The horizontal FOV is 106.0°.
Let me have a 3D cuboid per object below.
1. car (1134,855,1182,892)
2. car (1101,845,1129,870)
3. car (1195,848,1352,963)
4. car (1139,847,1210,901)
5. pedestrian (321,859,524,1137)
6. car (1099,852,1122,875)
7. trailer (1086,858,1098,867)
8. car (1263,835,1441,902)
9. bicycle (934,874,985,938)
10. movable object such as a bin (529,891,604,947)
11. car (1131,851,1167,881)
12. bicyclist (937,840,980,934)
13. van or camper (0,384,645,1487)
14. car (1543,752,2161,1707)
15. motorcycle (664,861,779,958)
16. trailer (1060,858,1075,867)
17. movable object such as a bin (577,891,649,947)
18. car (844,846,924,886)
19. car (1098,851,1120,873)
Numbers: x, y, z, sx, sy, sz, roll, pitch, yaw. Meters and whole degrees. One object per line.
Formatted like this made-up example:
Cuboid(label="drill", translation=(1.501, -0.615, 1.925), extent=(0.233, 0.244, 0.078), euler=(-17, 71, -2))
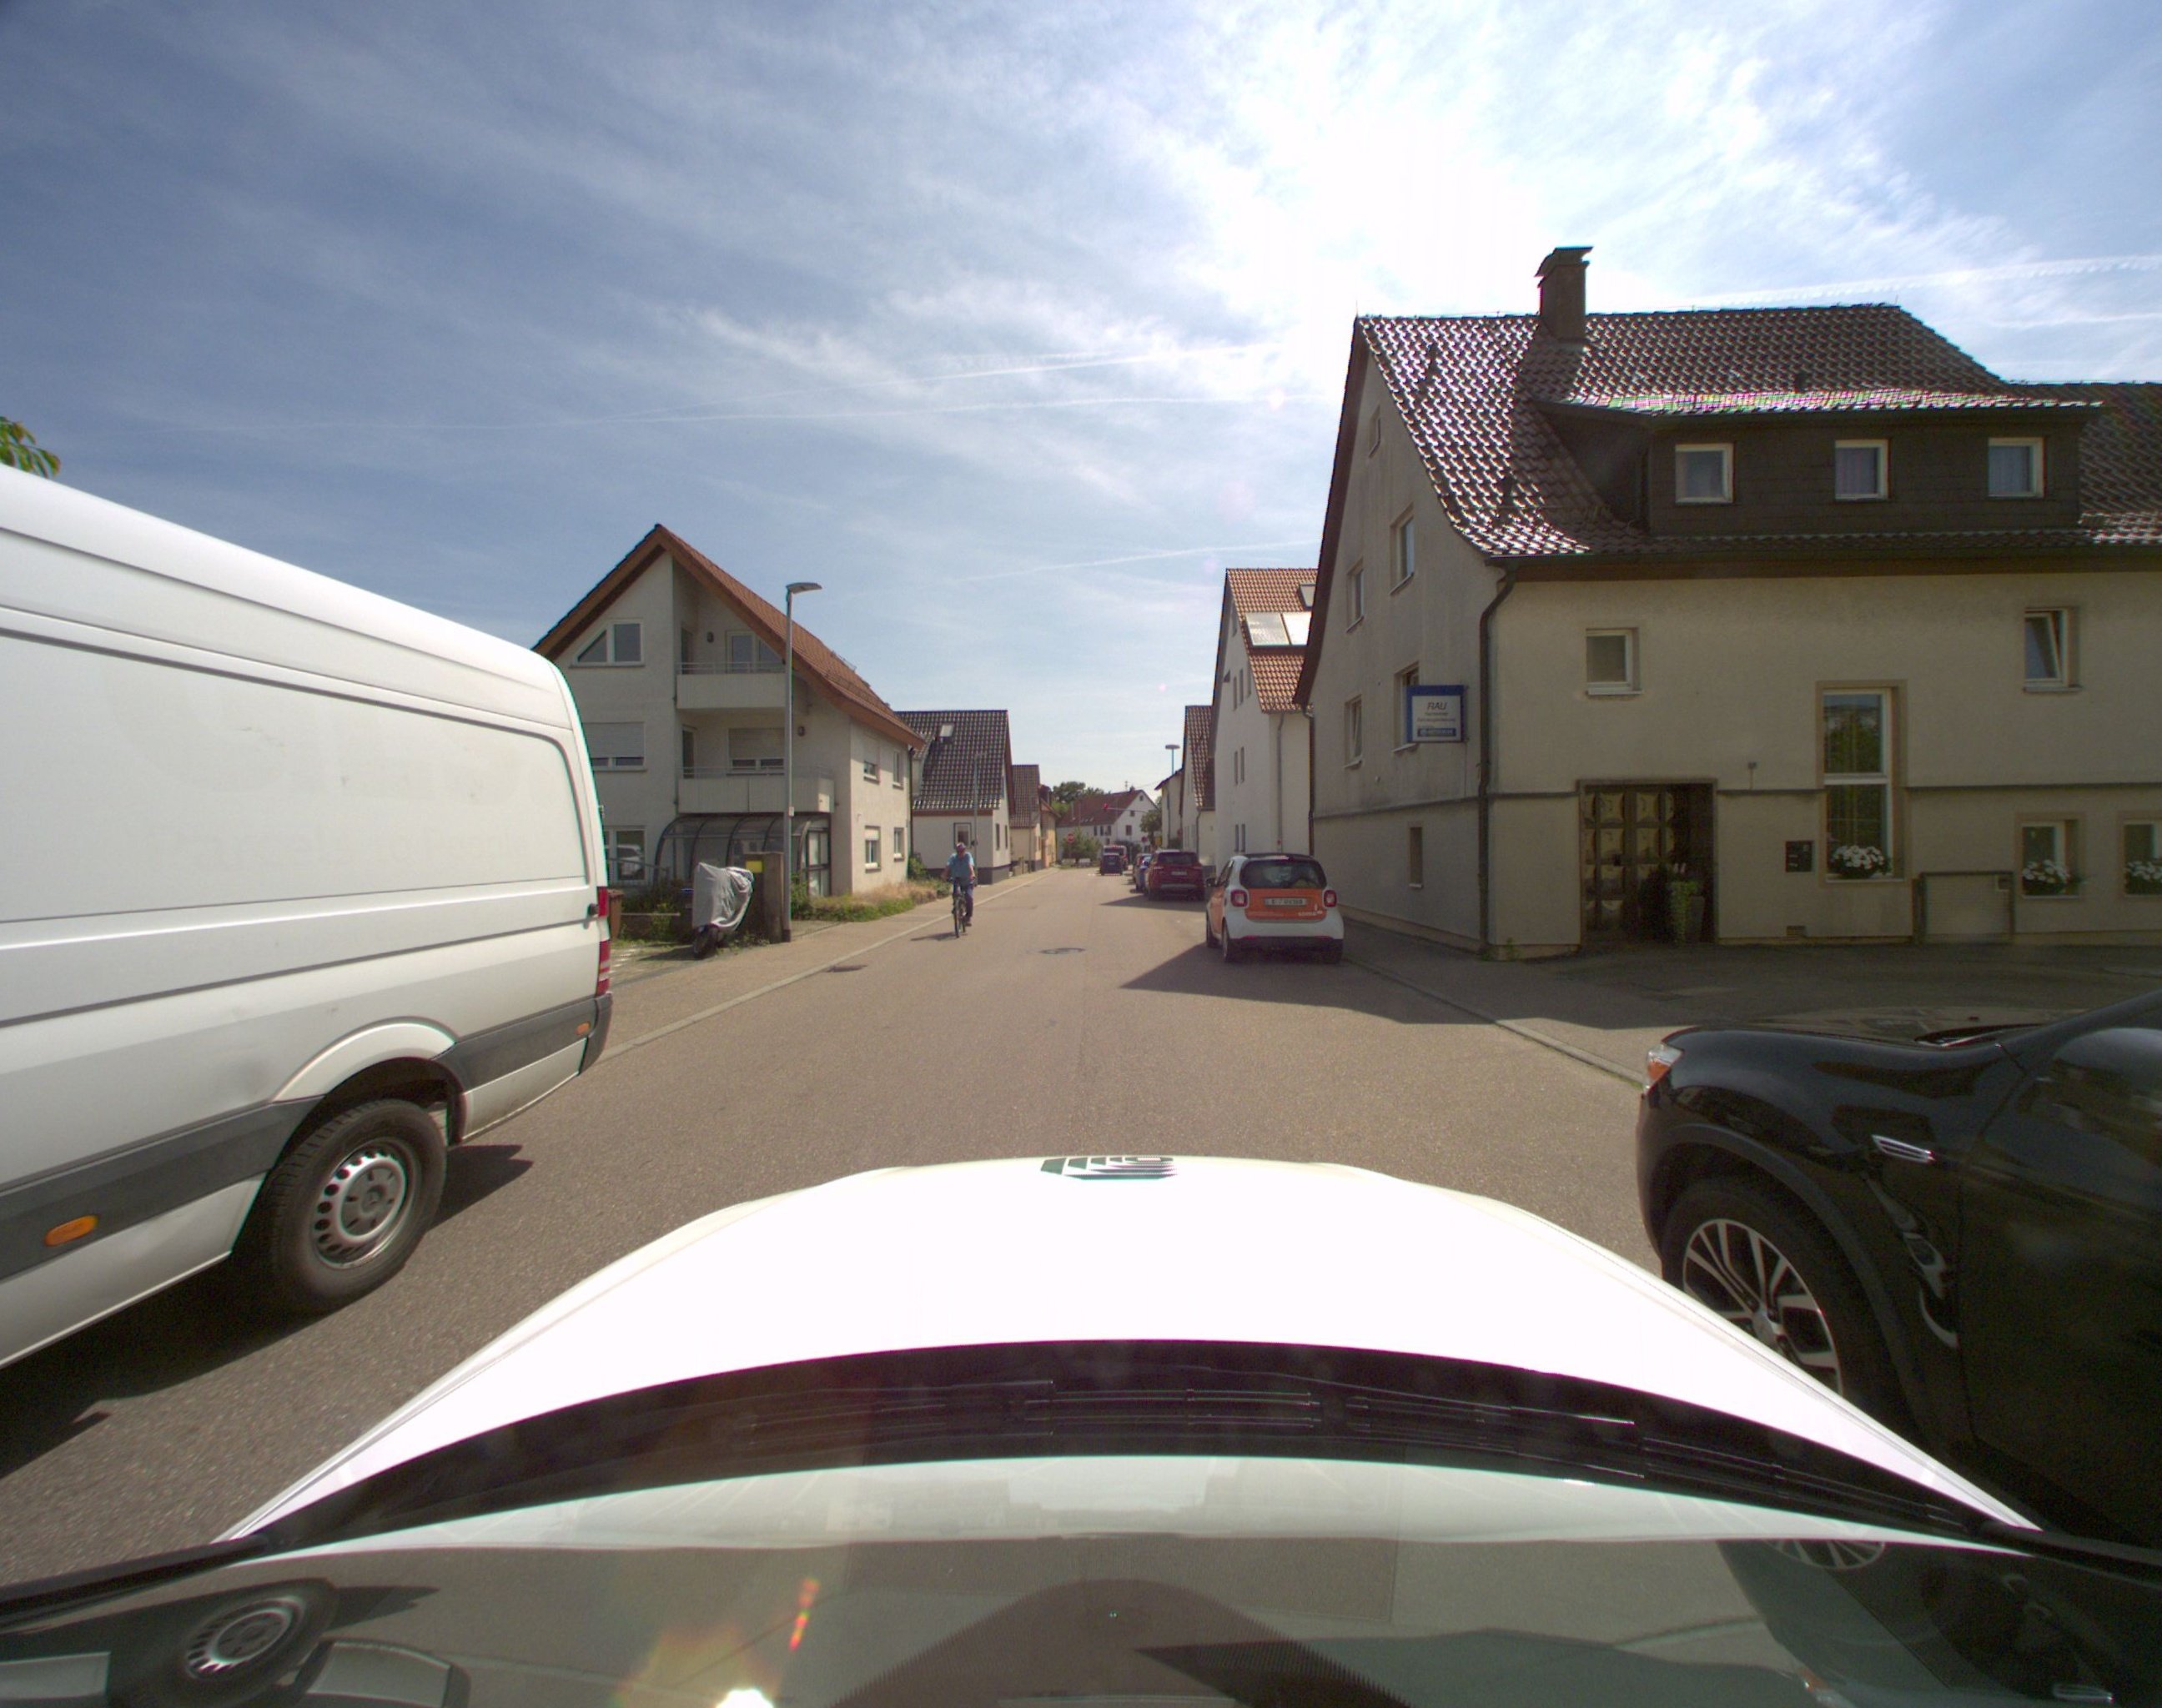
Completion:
Cuboid(label="car", translation=(3.134, 0.757, 33.909), extent=(1.756, 1.424, 4.595), euler=(0, 0, 2))
Cuboid(label="car", translation=(3.099, 0.267, 73.029), extent=(2.117, 2.158, 4.746), euler=(-1, 0, 7))
Cuboid(label="car", translation=(2.834, 0.698, 12.593), extent=(1.669, 1.559, 3.039), euler=(0, 0, -1))
Cuboid(label="car", translation=(3.107, 0.619, 27.837), extent=(1.870, 1.700, 4.181), euler=(0, 0, -1))
Cuboid(label="pedestrian", translation=(-3.898, 0.801, 4.880), extent=(0.570, 1.518, 0.726), euler=(2, 0, -1))
Cuboid(label="car", translation=(2.160, 0.652, 58.796), extent=(1.509, 1.567, 3.188), euler=(1, 0, 4))
Cuboid(label="trailer", translation=(1.172, 0.906, 88.637), extent=(1.305, 0.970, 0.934), euler=(0, 0, 2))
Cuboid(label="car", translation=(7.773, 0.389, 23.646), extent=(4.503, 1.843, 1.999), euler=(0, 0, -2))
Cuboid(label="bicycle", translation=(-2.397, 0.996, 16.279), extent=(0.668, 1.132, 2.189), euler=(0, 0, 0))
Cuboid(label="movable object such as a bin", translation=(-8.963, 1.114, 14.205), extent=(0.797, 0.905, 0.773), euler=(-1, 0, 0))
Cuboid(label="car", translation=(3.626, 0.633, 43.723), extent=(1.563, 1.545, 3.447), euler=(0, 0, -1))
Cuboid(label="bicyclist", translation=(-2.423, 0.639, 16.231), extent=(0.711, 1.799, 0.941), euler=(0, 0, -1))
Cuboid(label="van or camper", translation=(-3.619, 0.190, 1.207), extent=(2.177, 2.571, 6.808), euler=(0, 0, 1))
Cuboid(label="car", translation=(2.434, 0.652, 0.753), extent=(1.722, 1.600, 4.255), euler=(0, 0, 2))
Cuboid(label="motorcycle", translation=(-5.725, 0.824, 13.156), extent=(0.781, 1.393, 2.352), euler=(-1, 0, 0))
Cuboid(label="trailer", translation=(-1.491, 0.925, 88.720), extent=(1.496, 0.927, 1.013), euler=(1, 0, 2))
Cuboid(label="movable object such as a bin", translation=(-8.155, 1.118, 14.222), extent=(0.797, 0.905, 0.773), euler=(-1, 0, 0))
Cuboid(label="car", translation=(-8.760, 0.523, 36.407), extent=(3.101, 1.577, 1.714), euler=(3, 0, -1))
Cuboid(label="car", translation=(2.207, 0.575, 63.453), extent=(1.509, 1.624, 3.188), euler=(-1, 0, 5))
